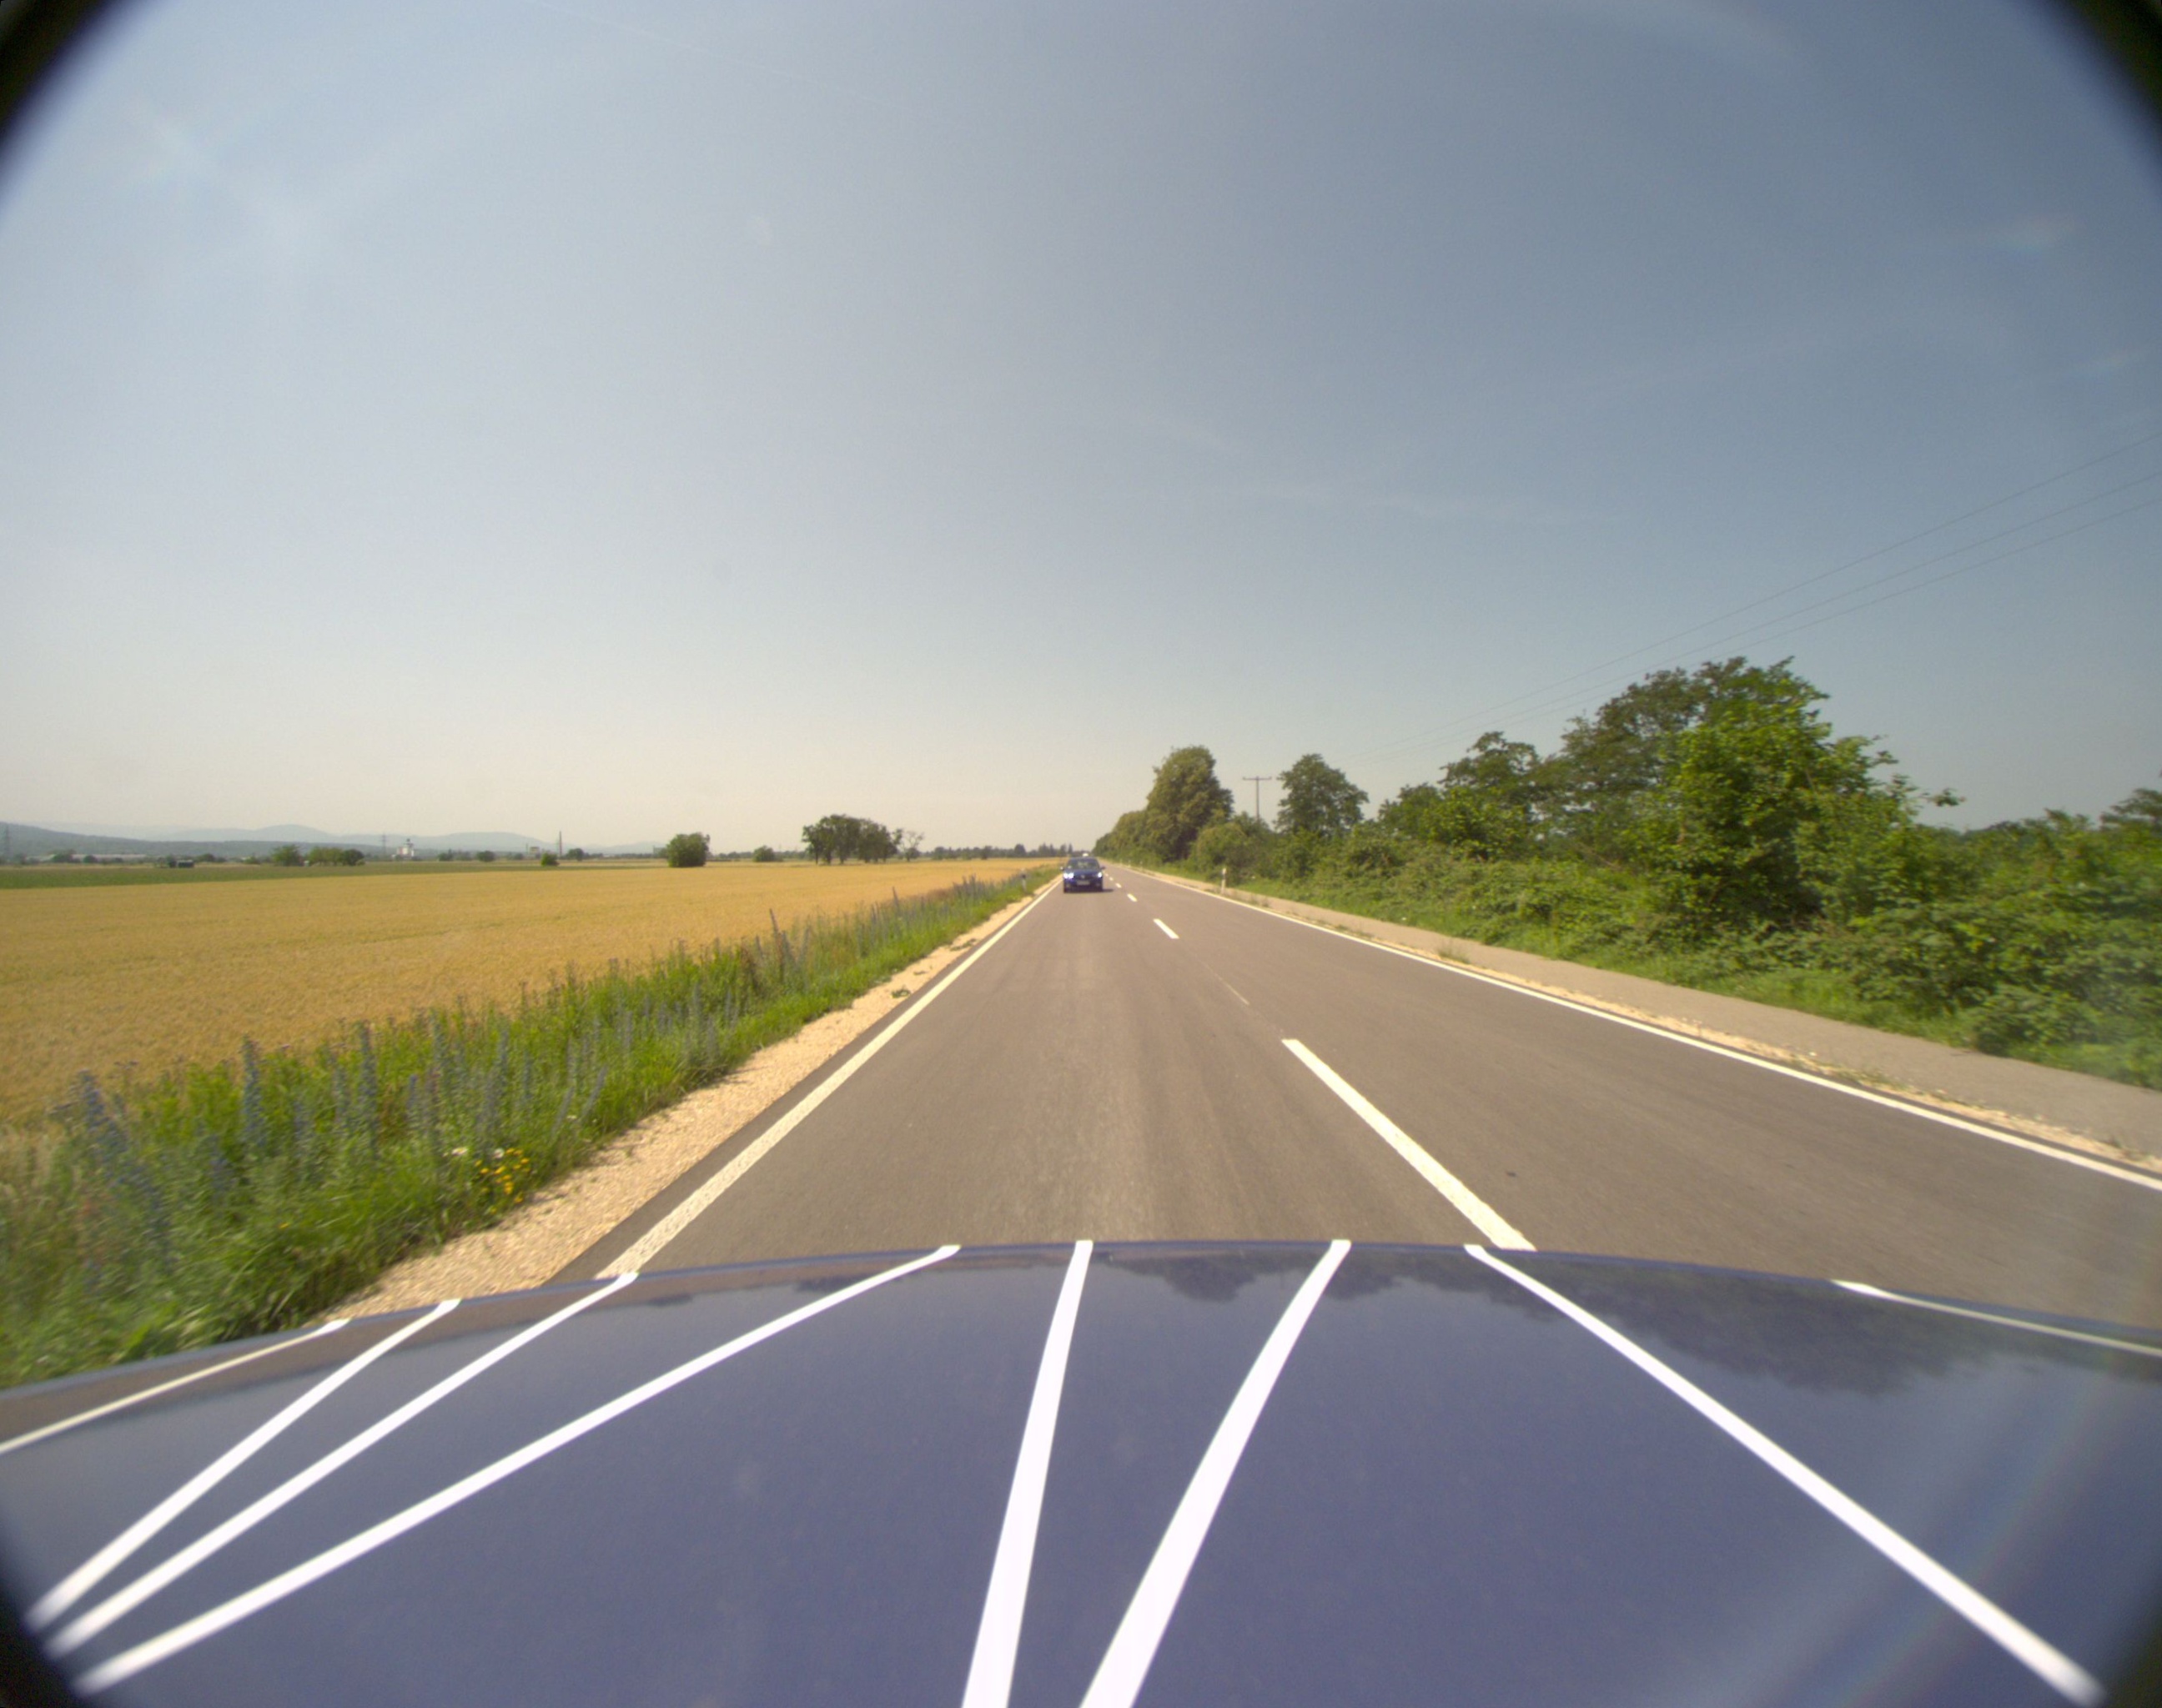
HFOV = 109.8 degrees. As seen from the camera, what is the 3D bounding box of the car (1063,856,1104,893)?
[{"bbox_3d":[0.102,0.870,34.244,1.662,1.508,4.000,-2,0,0],"label":"car"}]
